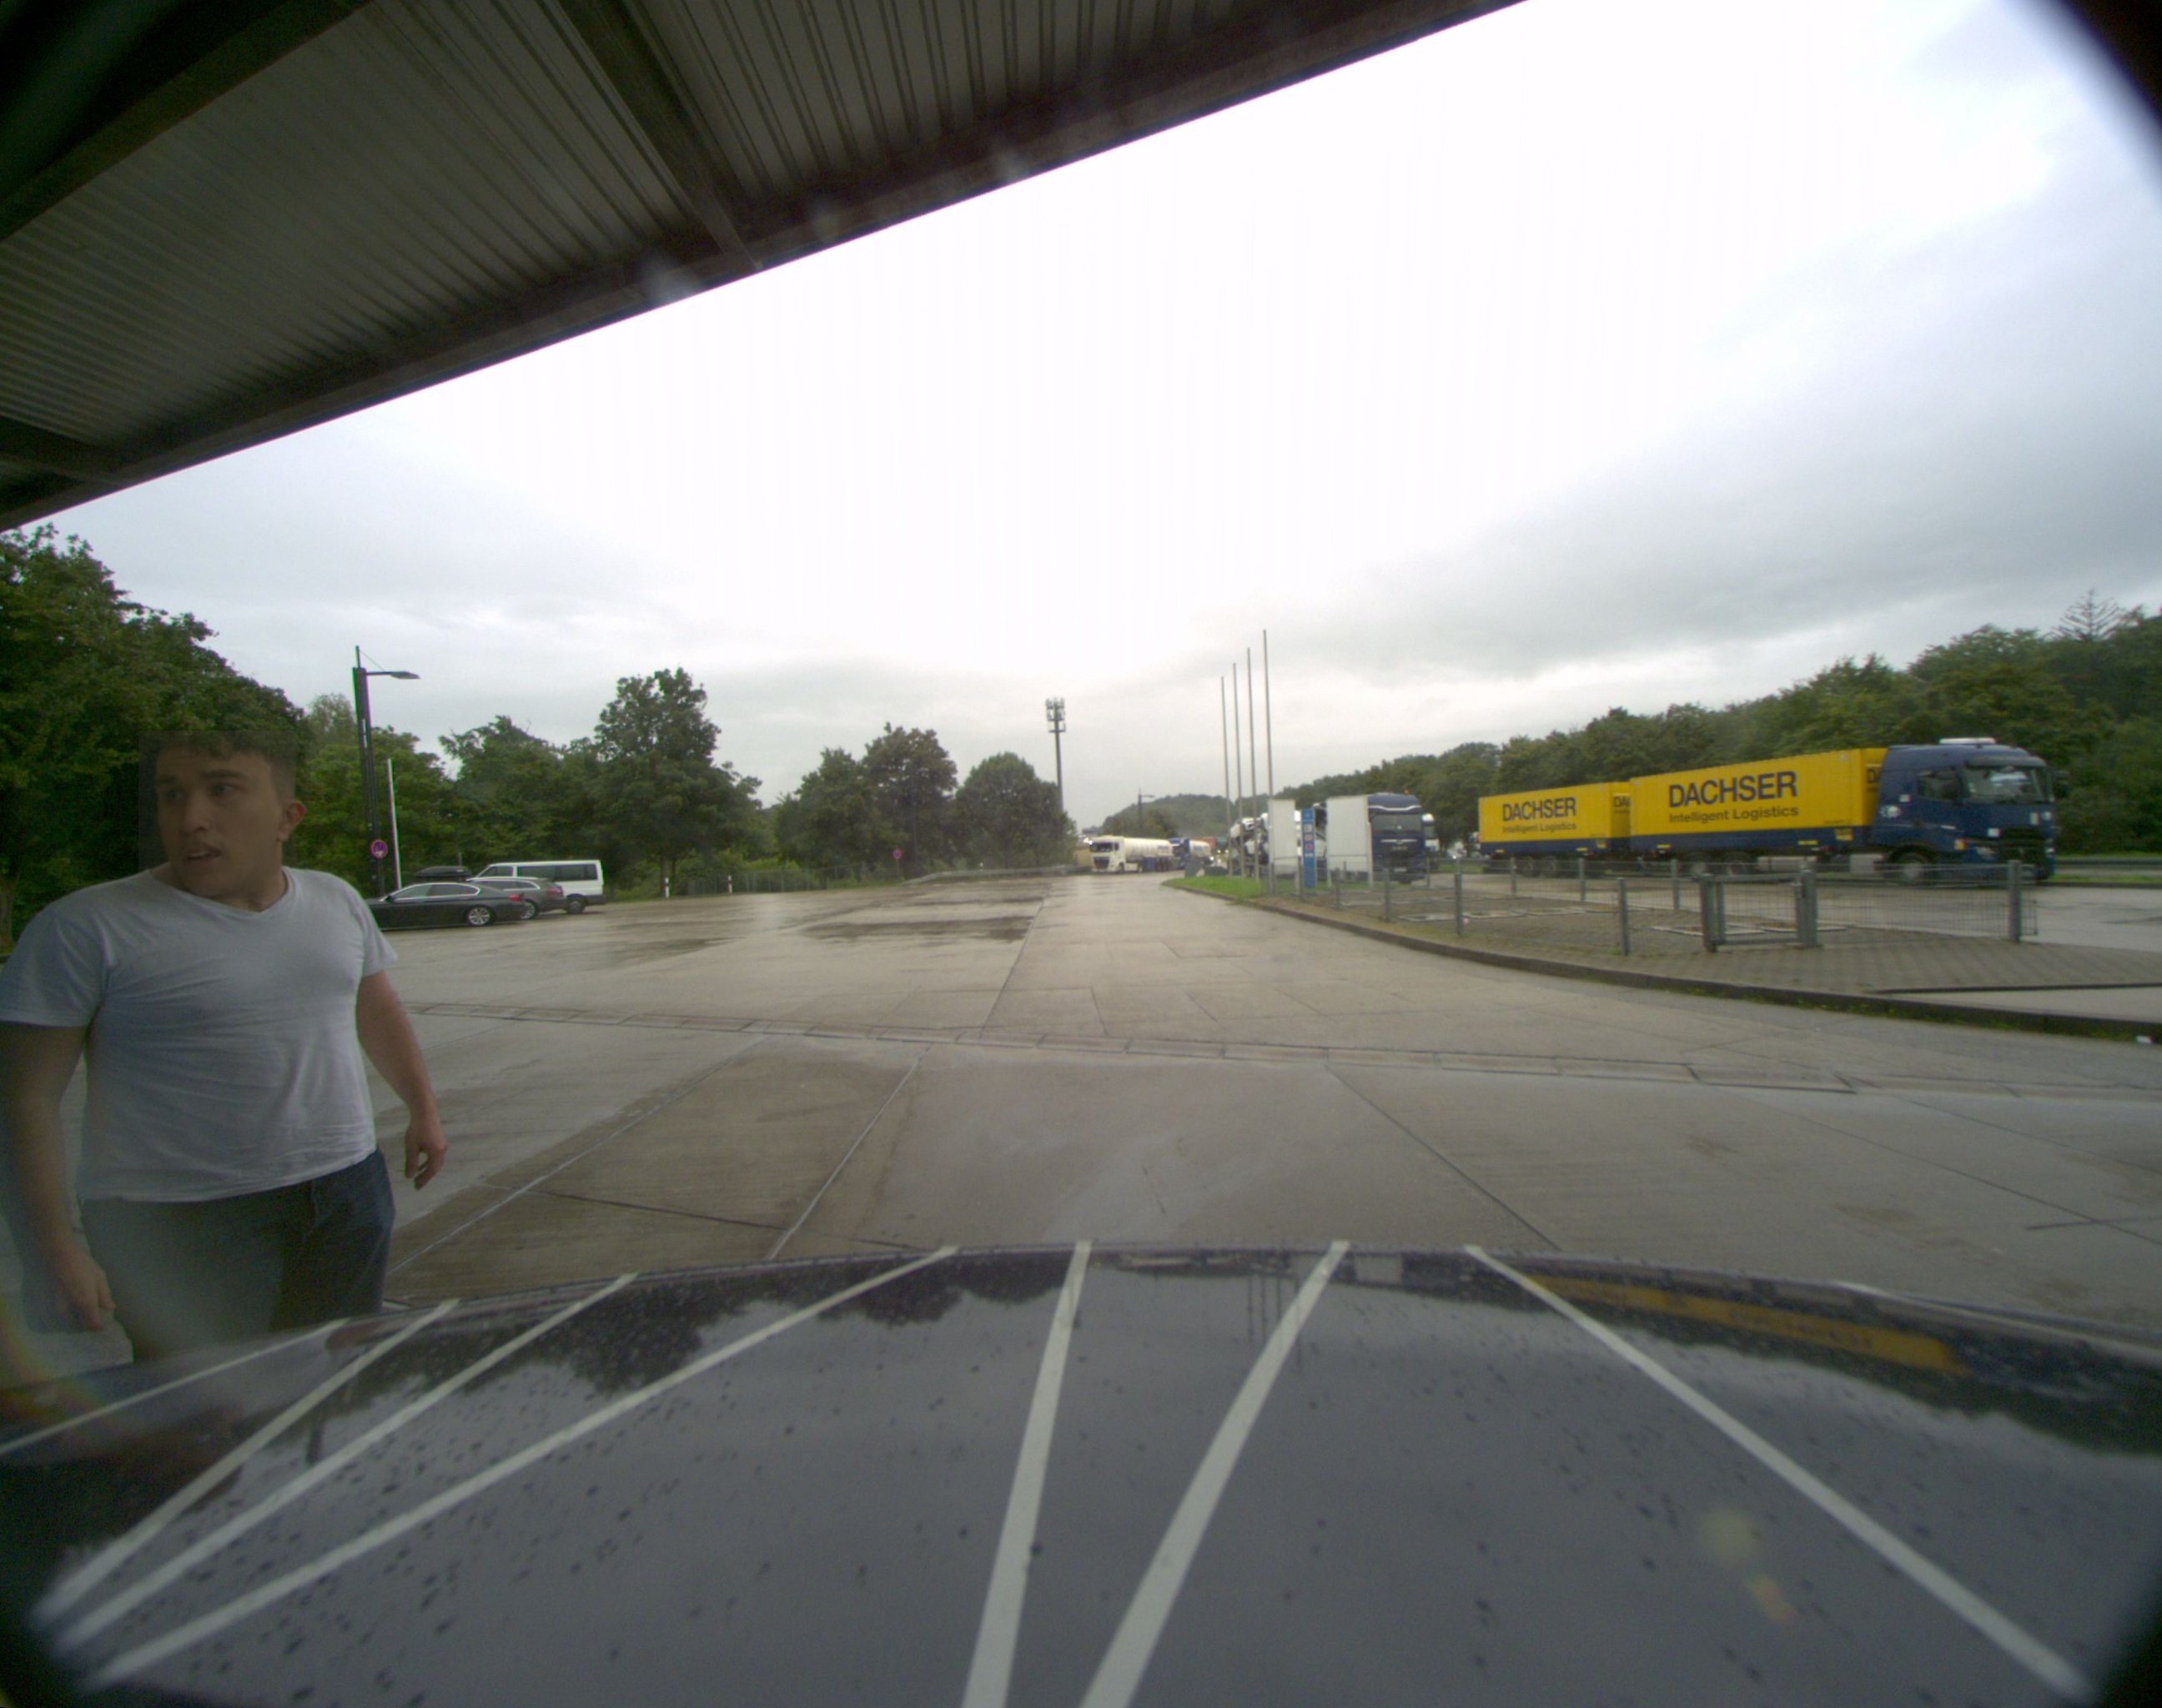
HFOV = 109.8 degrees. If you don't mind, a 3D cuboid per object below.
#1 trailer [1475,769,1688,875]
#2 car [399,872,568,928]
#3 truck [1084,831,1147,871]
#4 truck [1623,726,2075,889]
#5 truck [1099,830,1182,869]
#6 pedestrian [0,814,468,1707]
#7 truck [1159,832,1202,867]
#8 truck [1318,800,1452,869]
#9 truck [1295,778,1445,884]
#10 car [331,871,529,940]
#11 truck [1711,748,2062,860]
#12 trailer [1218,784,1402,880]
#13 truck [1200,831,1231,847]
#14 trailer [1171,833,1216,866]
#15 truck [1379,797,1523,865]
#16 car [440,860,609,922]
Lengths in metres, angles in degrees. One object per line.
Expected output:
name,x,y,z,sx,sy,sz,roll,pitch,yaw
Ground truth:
trailer,21.780,-1.277,33.978,2.774,4.009,8.853,-2,1,-8
car,-19.657,1.454,25.273,4.187,1.547,1.995,-2,0,-33
truck,3.318,-0.356,71.426,3.243,3.544,6.114,-2,1,31
truck,23.057,-1.216,24.295,2.774,4.009,10.632,-2,1,-8
truck,6.201,-0.523,76.338,3.243,3.544,11.995,-2,1,31
pedestrian,-1.724,0.839,1.416,0.493,1.800,0.634,-2,2,10
truck,11.331,-0.525,85.722,3.045,3.745,6.475,-2,1,23
truck,19.757,-1.221,50.419,2.991,4.009,10.464,-2,1,-10
truck,12.300,-0.924,33.235,2.990,4.009,7.259,-2,1,-7
car,-19.126,1.451,22.632,4.187,1.720,1.995,-2,0,-33
truck,33.769,-1.879,32.916,2.991,4.009,10.464,-2,1,-10
trailer,11.372,-1.000,40.927,2.990,4.009,16.597,-2,1,-7
truck,32.620,-3.573,184.705,3.251,3.544,14.655,-1,1,-7
trailer,13.672,-0.652,91.429,2.898,3.618,10.586,-2,1,22
truck,24.360,-1.405,50.942,2.991,4.009,10.464,-2,1,-10
car,-20.267,1.283,27.904,4.780,1.974,2.010,-2,0,-36
